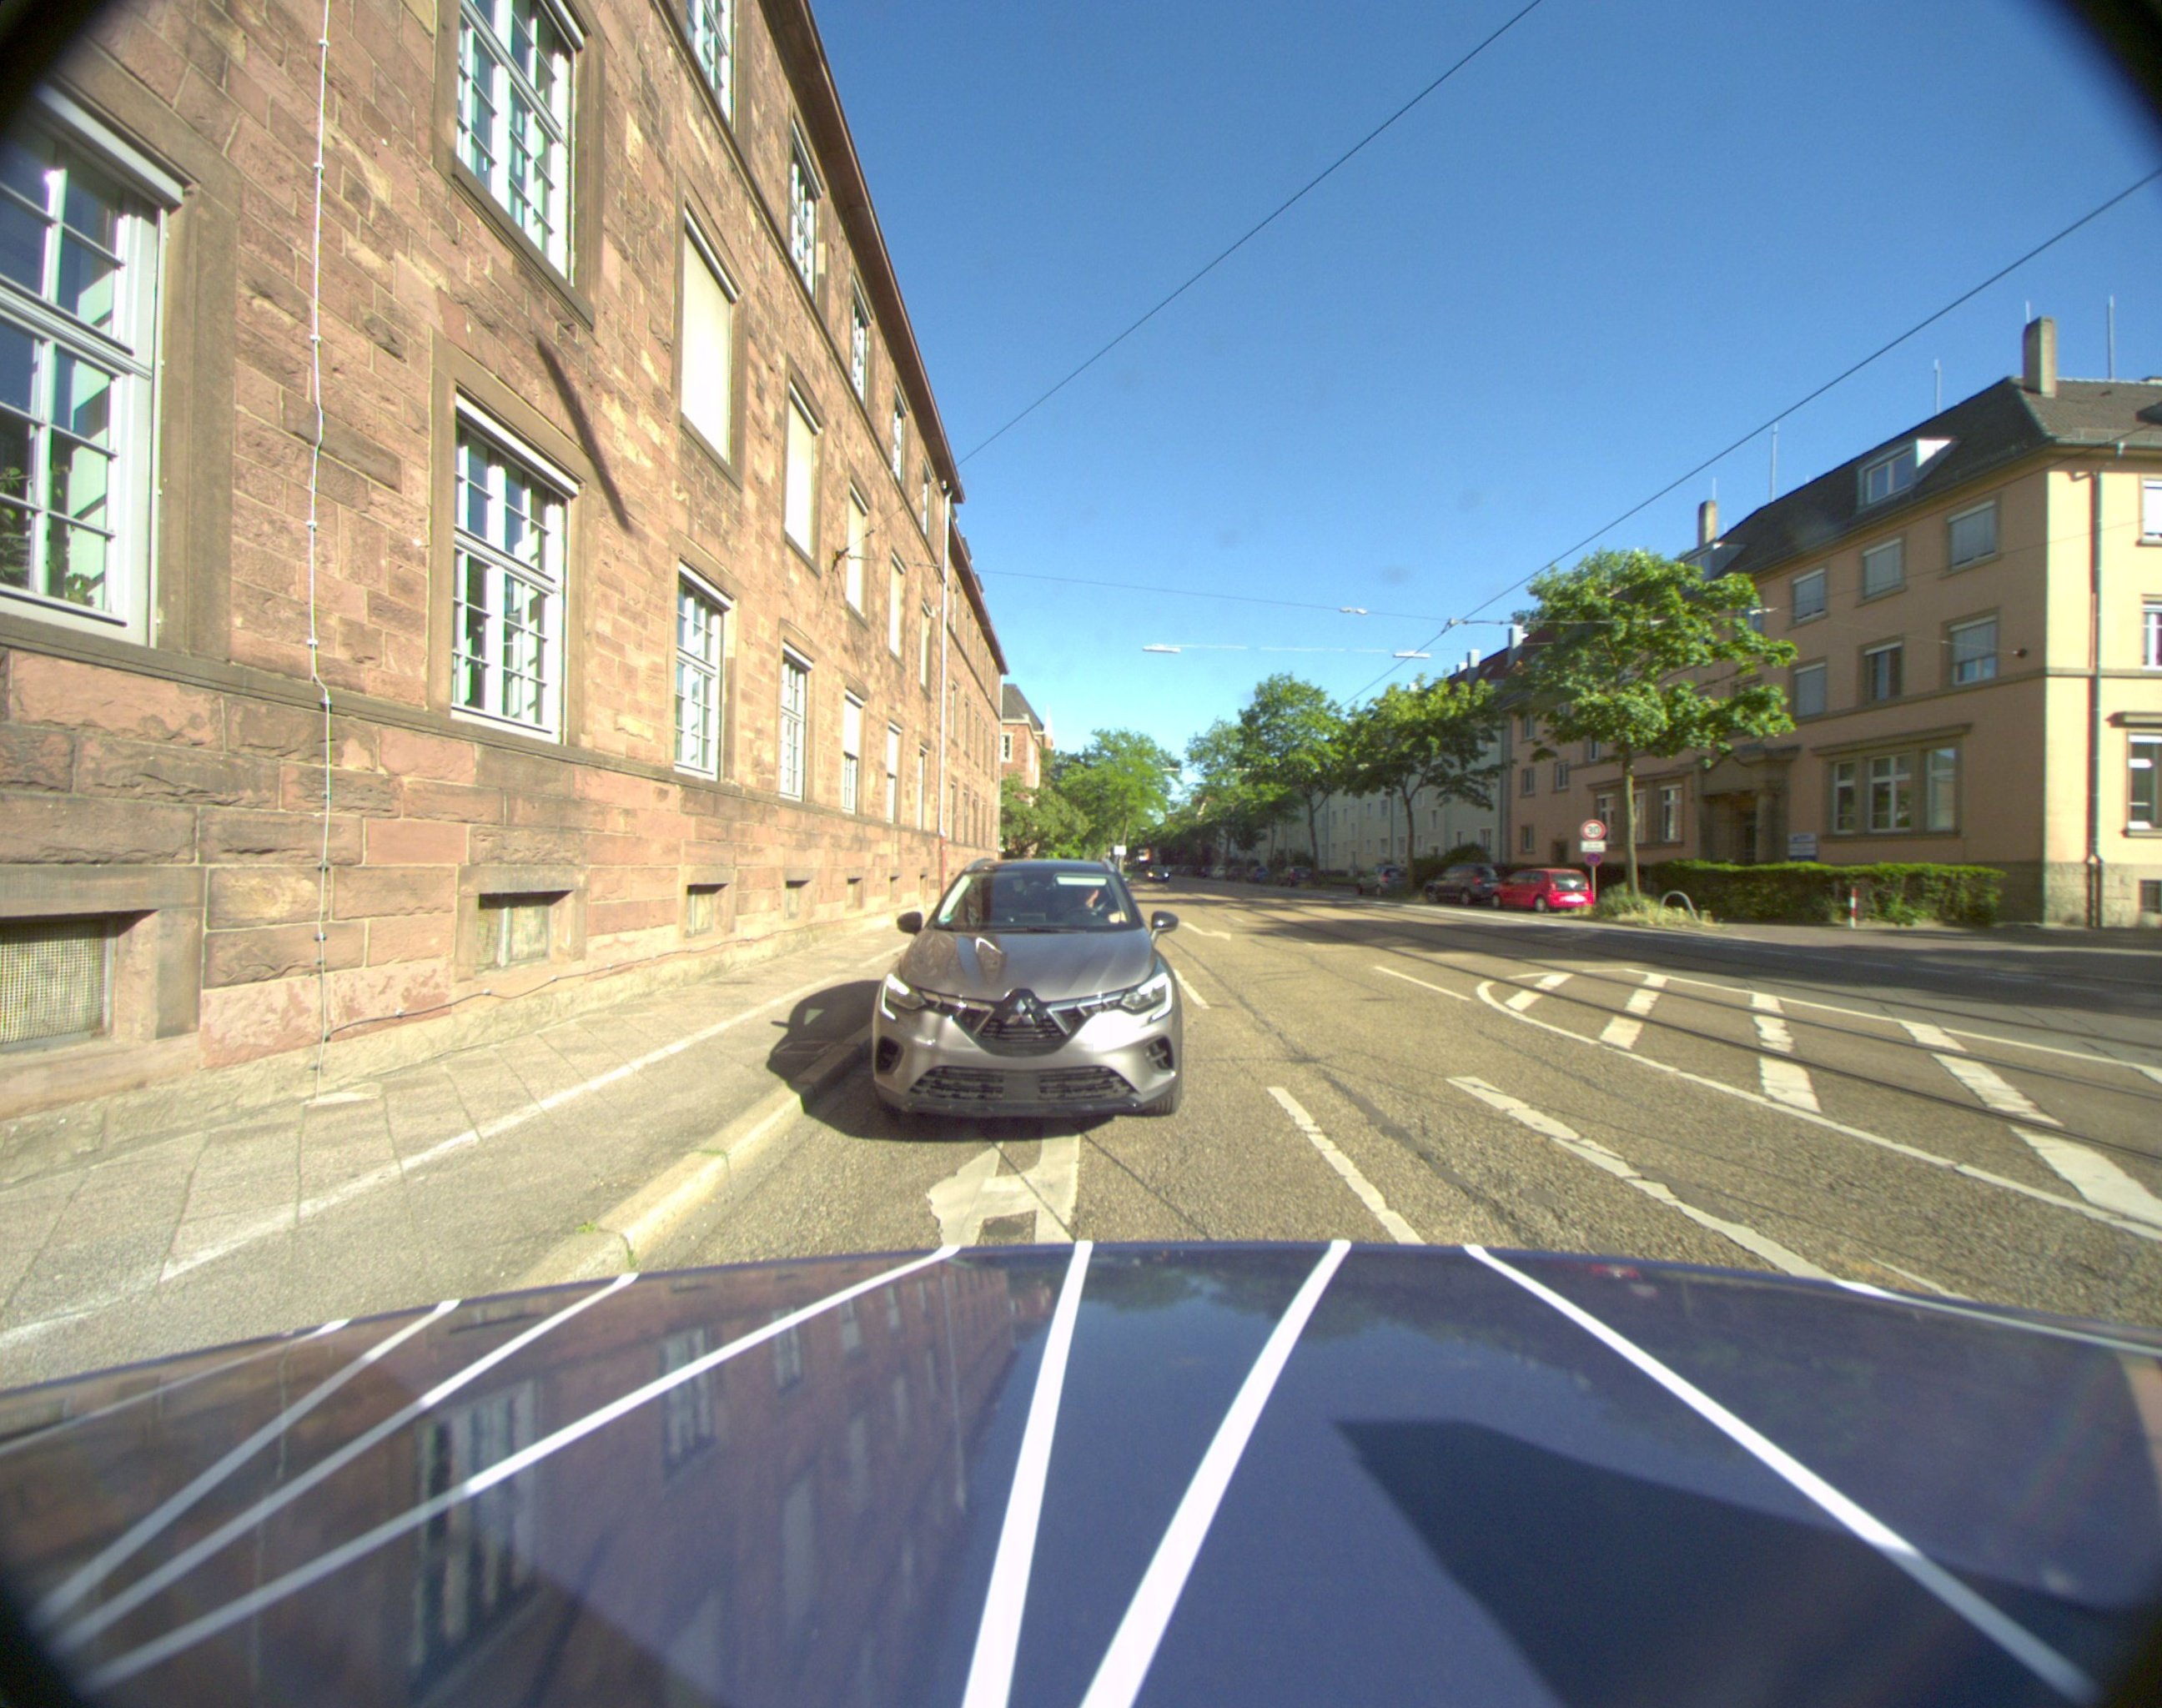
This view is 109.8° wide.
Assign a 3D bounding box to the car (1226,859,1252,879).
[{"bbox_3d":[15.907,1.528,76.558,1.816,1.929,3.630,1,0,-2],"label":"car"}]

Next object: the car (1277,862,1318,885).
[{"bbox_3d":[15.795,1.426,55.587,1.816,1.589,3.630,1,0,-2],"label":"car"}]

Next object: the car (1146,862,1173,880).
[{"bbox_3d":[6.874,1.466,67.154,1.912,1.510,4.000,1,0,-1],"label":"car"}]

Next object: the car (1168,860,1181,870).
[{"bbox_3d":[16.600,1.941,135.225,1.816,1.768,3.630,1,0,-2],"label":"car"}]

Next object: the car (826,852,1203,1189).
[{"bbox_3d":[-0.365,0.808,5.554,1.796,1.595,3.799,-1,0,-2],"label":"car"}]

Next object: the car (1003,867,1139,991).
[{"bbox_3d":[-0.180,1.032,12.031,1.796,1.595,3.799,-1,0,-2],"label":"car"}]

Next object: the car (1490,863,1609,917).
[{"bbox_3d":[15.856,1.164,25.925,1.816,1.696,3.374,1,0,-3],"label":"car"}]

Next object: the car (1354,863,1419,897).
[{"bbox_3d":[15.735,1.299,39.343,1.816,1.648,3.877,1,0,1],"label":"car"}]

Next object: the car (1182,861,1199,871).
[{"bbox_3d":[16.047,1.743,111.796,1.816,1.411,3.630,1,0,-2],"label":"car"}]

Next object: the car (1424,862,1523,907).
[{"bbox_3d":[15.646,1.168,30.533,1.816,1.648,3.819,1,0,-3],"label":"car"}]

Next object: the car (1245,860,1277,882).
[{"bbox_3d":[15.977,1.471,67.480,1.816,1.814,3.795,1,0,-2],"label":"car"}]

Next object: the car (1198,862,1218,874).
[{"bbox_3d":[15.853,1.755,94.843,1.816,1.411,3.630,1,0,-2],"label":"car"}]

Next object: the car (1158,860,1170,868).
[{"bbox_3d":[15.990,1.850,146.862,1.816,1.514,3.630,1,0,-2],"label":"car"}]

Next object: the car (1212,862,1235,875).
[{"bbox_3d":[16.037,1.667,85.916,1.816,1.411,3.630,1,0,-2],"label":"car"}]

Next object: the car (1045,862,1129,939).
[{"bbox_3d":[0.074,1.015,18.478,1.796,1.638,4.083,-1,0,-2],"label":"car"}]

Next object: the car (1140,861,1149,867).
[{"bbox_3d":[16.082,2.483,191.383,1.816,1.411,3.630,1,0,-2],"label":"car"}]
